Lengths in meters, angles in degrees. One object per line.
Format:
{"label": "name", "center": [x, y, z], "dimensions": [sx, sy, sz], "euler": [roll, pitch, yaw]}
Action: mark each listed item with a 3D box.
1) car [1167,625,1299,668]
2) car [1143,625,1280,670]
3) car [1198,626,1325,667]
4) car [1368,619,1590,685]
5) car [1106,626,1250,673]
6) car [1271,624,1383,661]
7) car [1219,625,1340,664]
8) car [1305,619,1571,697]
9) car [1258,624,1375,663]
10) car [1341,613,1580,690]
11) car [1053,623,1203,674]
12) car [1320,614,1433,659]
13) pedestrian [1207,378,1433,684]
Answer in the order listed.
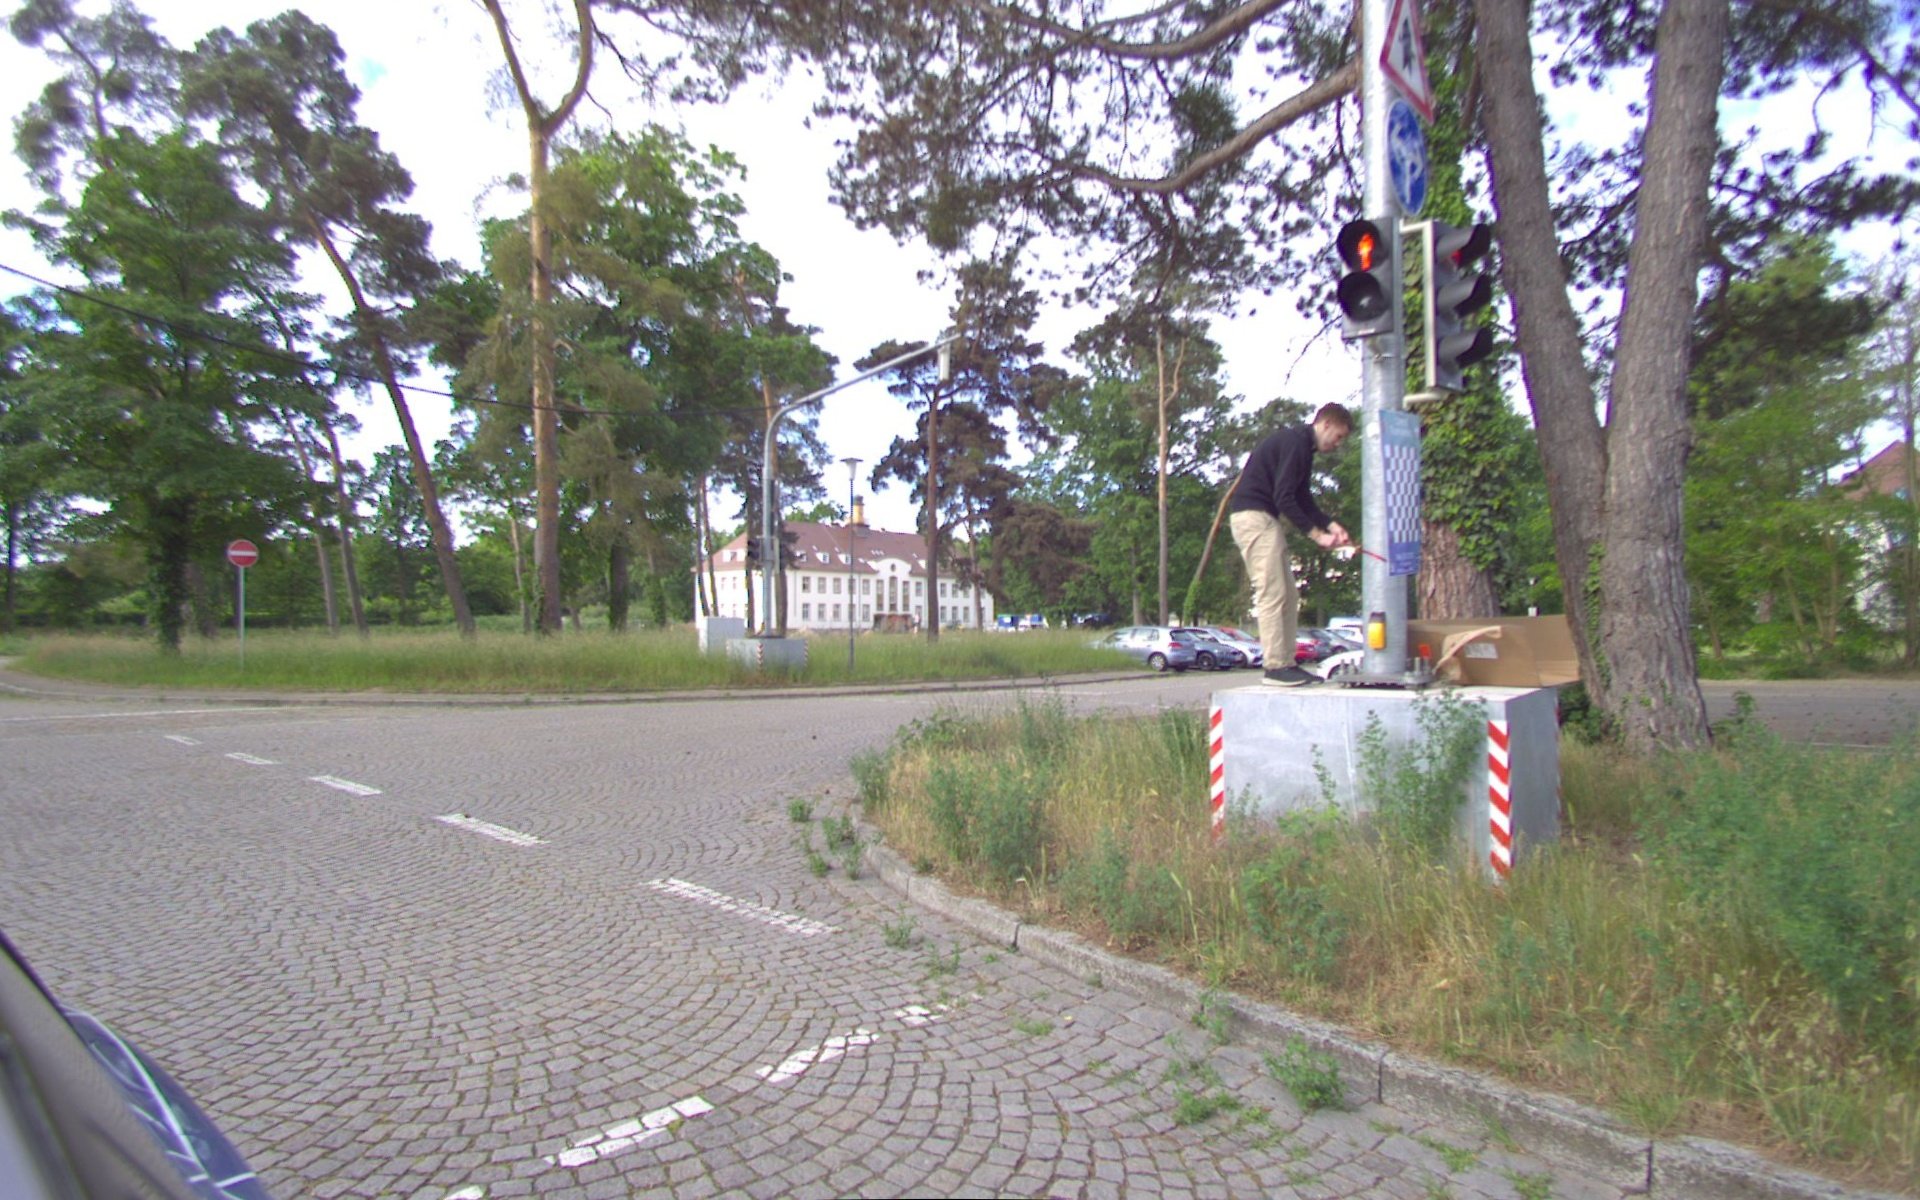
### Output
{"label": "car", "center": [10.621, 1.824, 39.529], "dimensions": [4.578, 1.571, 1.817], "euler": [-4, -3, 38]}
{"label": "car", "center": [9.285, 1.787, 37.561], "dimensions": [4.578, 1.533, 1.817], "euler": [-4, -3, 38]}
{"label": "car", "center": [12.215, 1.902, 41.193], "dimensions": [4.578, 1.533, 1.817], "euler": [-4, -3, 38]}
{"label": "car", "center": [12.843, 1.300, 25.218], "dimensions": [4.582, 1.480, 1.816], "euler": [-3, -3, 41]}
{"label": "car", "center": [7.609, 1.766, 35.529], "dimensions": [4.578, 1.533, 1.817], "euler": [-4, -3, 38]}
{"label": "car", "center": [17.285, 2.008, 47.748], "dimensions": [4.578, 1.586, 1.817], "euler": [-4, -3, 38]}
{"label": "car", "center": [13.639, 1.928, 43.382], "dimensions": [4.578, 1.533, 1.817], "euler": [-4, -3, 38]}
{"label": "car", "center": [9.810, 1.205, 20.978], "dimensions": [4.649, 1.461, 1.817], "euler": [-4, -3, 38]}
{"label": "car", "center": [15.834, 1.946, 45.069], "dimensions": [4.578, 1.571, 1.817], "euler": [-4, -3, 38]}
{"label": "car", "center": [11.326, 1.199, 23.075], "dimensions": [4.578, 1.590, 1.817], "euler": [-4, -3, 38]}
{"label": "car", "center": [5.575, 1.626, 33.733], "dimensions": [4.571, 1.559, 1.820], "euler": [-3, -3, 33]}
{"label": "car", "center": [21.109, 1.863, 51.429], "dimensions": [4.977, 2.113, 1.816], "euler": [-4, -3, 40]}
{"label": "pedestrian", "center": [1.999, -0.335, 5.646], "dimensions": [0.870, 1.529, 0.823], "euler": [1, -2, -35]}
